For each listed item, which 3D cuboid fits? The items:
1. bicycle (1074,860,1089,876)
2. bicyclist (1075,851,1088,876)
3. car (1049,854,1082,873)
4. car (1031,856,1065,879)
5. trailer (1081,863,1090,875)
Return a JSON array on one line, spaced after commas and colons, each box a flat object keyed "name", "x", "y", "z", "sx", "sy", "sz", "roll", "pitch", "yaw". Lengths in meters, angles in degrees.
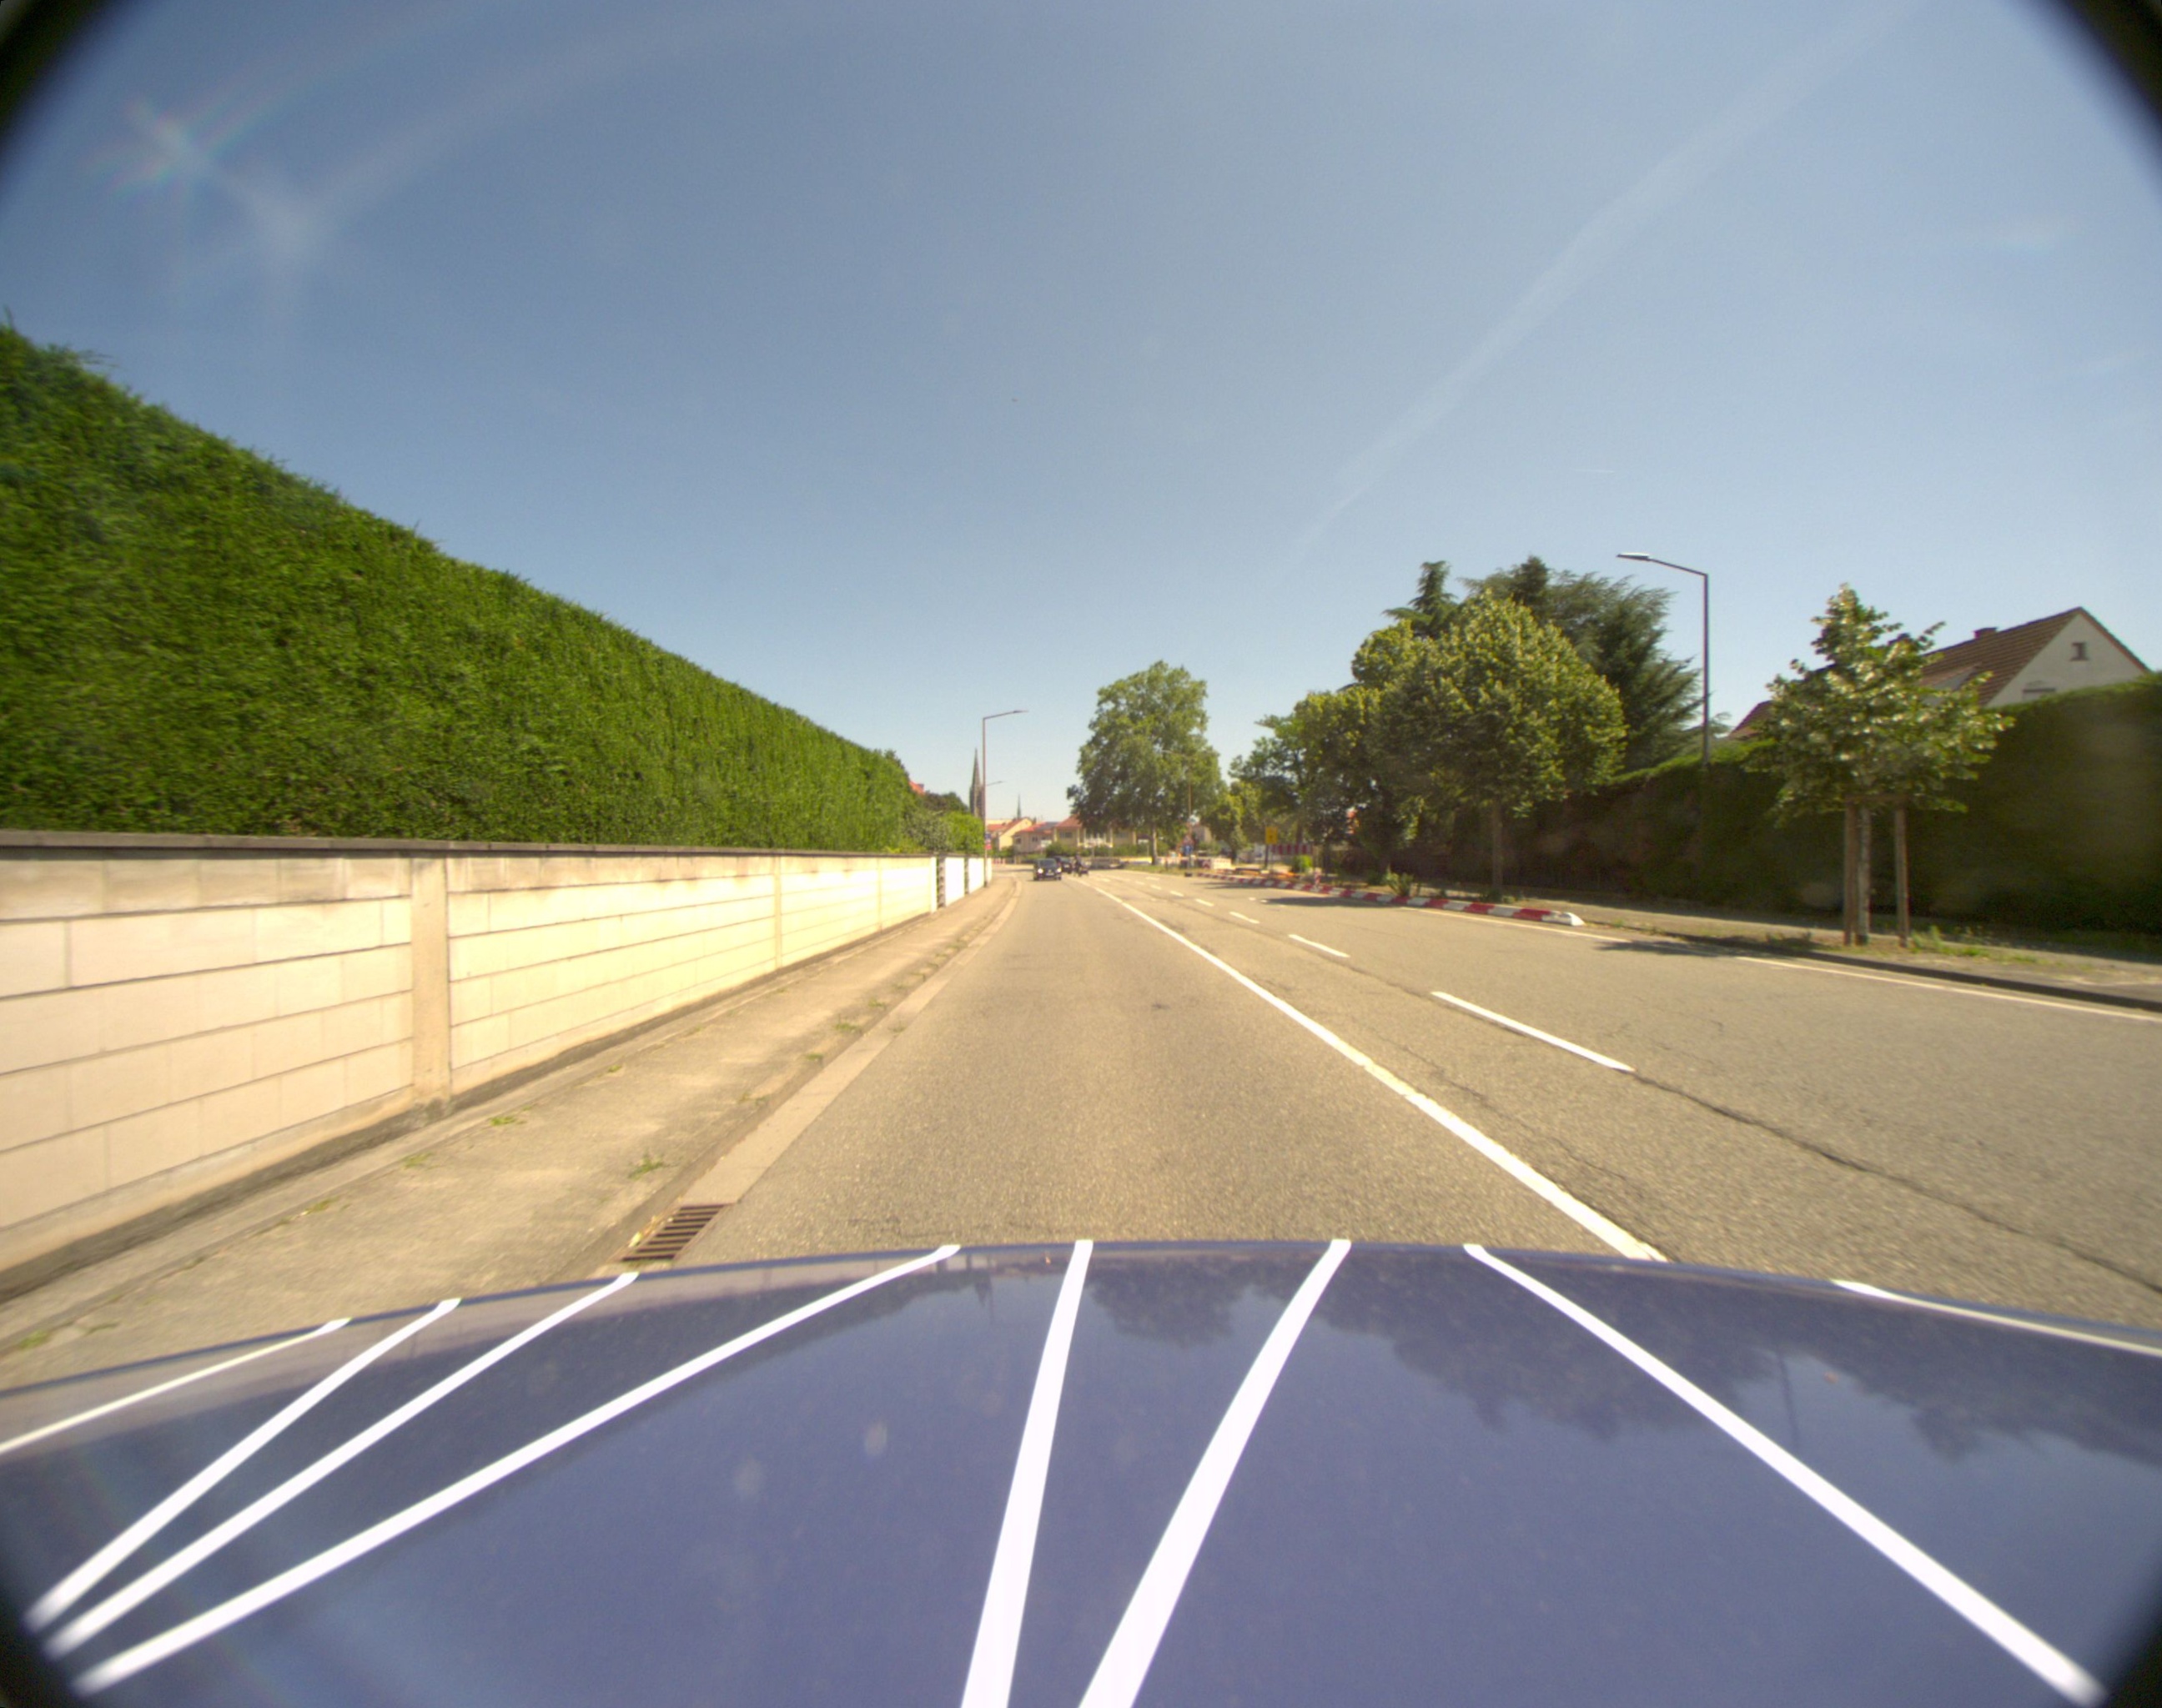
[{"name": "bicycle", "x": 0.011, "y": 1.058, "z": 57.747, "sx": 0.853, "sy": 1.159, "sz": 1.976, "roll": -1, "pitch": 0, "yaw": -7}, {"name": "bicyclist", "x": 0.011, "y": 0.702, "z": 57.697, "sx": 0.848, "sy": 1.855, "sz": 0.975, "roll": -2, "pitch": 1, "yaw": -7}, {"name": "car", "x": -1.365, "y": 0.811, "z": 65.437, "sx": 1.732, "sy": 1.523, "sz": 3.824, "roll": -3, "pitch": 1, "yaw": -19}, {"name": "car", "x": -2.268, "y": 0.869, "z": 51.293, "sx": 1.609, "sy": 1.436, "sz": 3.905, "roll": -2, "pitch": 1, "yaw": -11}, {"name": "trailer", "x": 0.333, "y": 1.134, "z": 56.206, "sx": 0.572, "sy": 0.851, "sz": 1.132, "roll": -2, "pitch": 0, "yaw": -7}]
